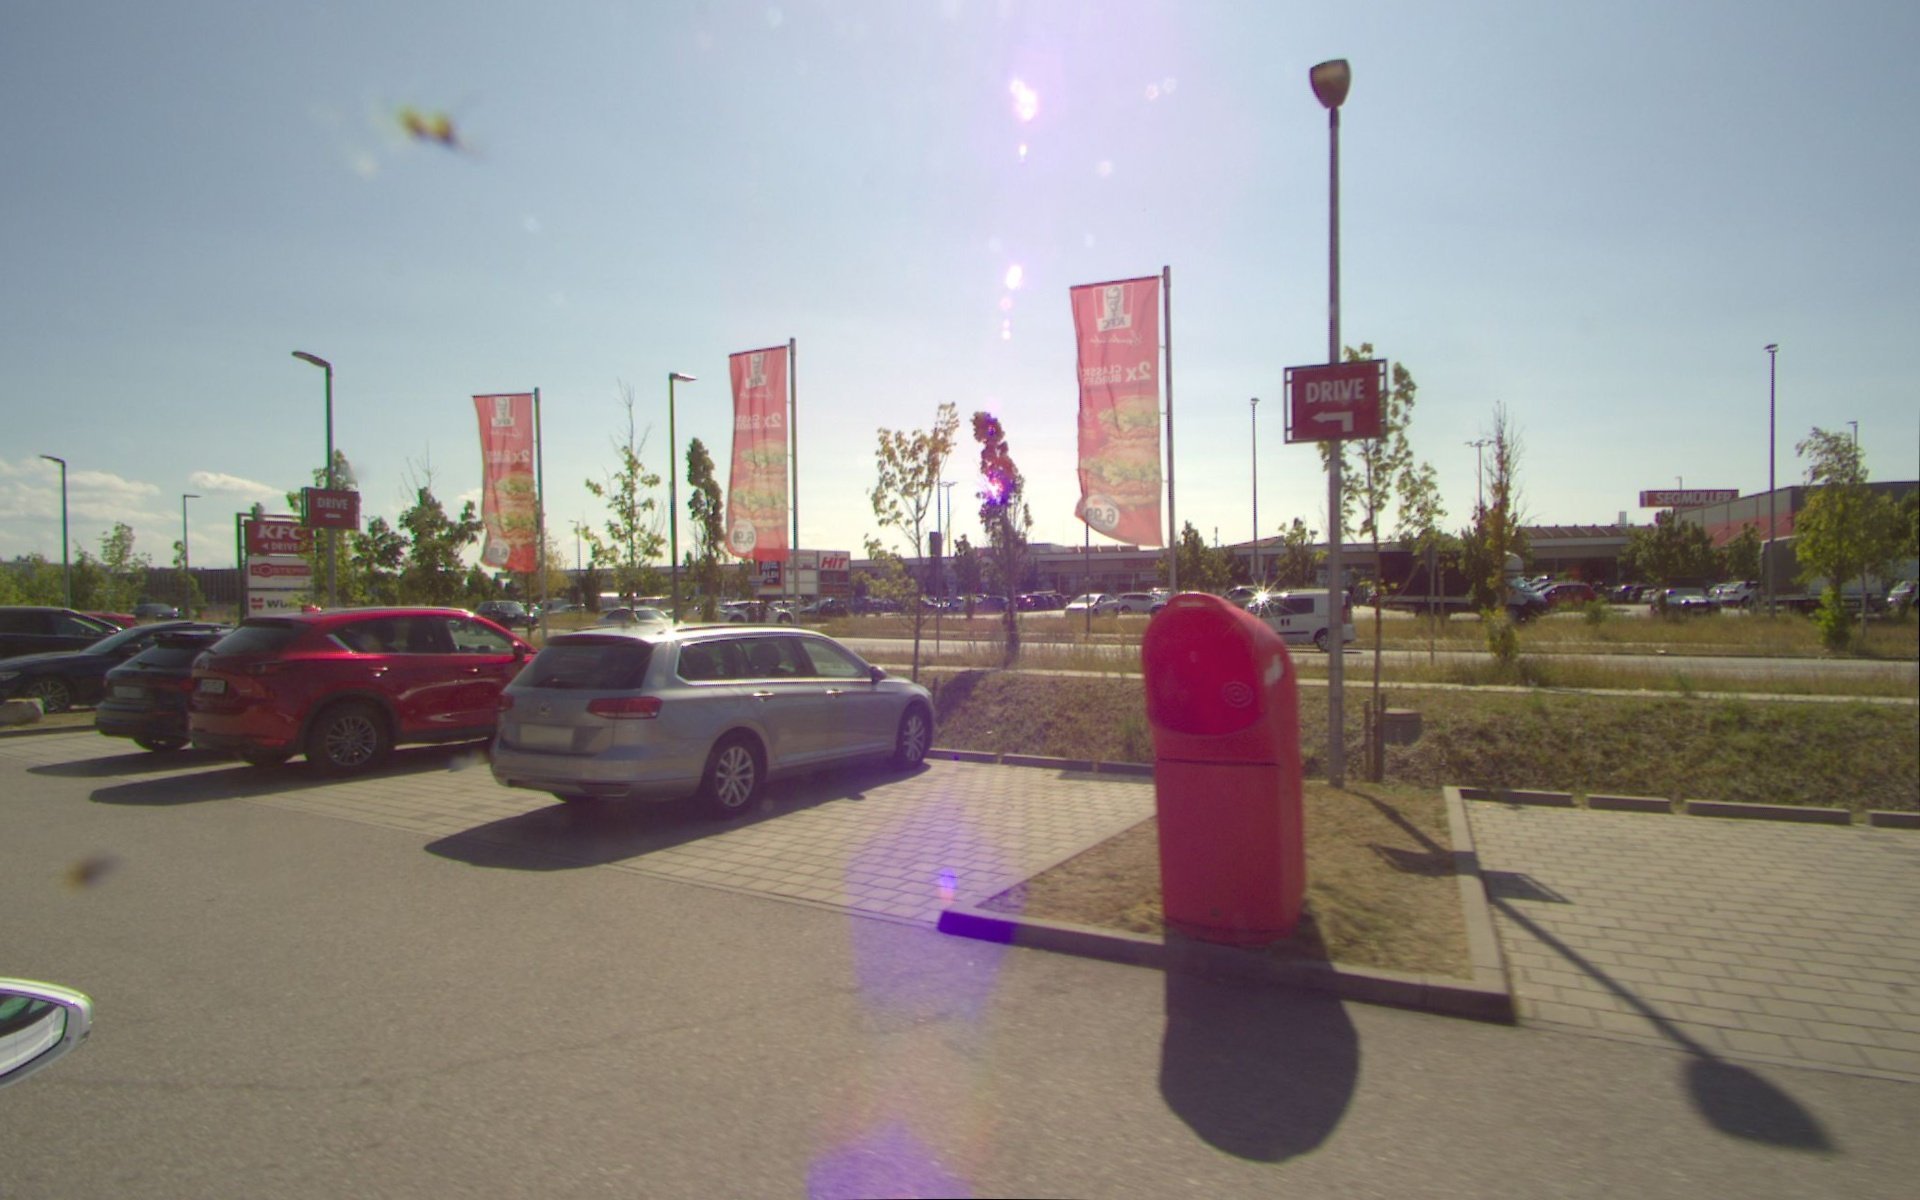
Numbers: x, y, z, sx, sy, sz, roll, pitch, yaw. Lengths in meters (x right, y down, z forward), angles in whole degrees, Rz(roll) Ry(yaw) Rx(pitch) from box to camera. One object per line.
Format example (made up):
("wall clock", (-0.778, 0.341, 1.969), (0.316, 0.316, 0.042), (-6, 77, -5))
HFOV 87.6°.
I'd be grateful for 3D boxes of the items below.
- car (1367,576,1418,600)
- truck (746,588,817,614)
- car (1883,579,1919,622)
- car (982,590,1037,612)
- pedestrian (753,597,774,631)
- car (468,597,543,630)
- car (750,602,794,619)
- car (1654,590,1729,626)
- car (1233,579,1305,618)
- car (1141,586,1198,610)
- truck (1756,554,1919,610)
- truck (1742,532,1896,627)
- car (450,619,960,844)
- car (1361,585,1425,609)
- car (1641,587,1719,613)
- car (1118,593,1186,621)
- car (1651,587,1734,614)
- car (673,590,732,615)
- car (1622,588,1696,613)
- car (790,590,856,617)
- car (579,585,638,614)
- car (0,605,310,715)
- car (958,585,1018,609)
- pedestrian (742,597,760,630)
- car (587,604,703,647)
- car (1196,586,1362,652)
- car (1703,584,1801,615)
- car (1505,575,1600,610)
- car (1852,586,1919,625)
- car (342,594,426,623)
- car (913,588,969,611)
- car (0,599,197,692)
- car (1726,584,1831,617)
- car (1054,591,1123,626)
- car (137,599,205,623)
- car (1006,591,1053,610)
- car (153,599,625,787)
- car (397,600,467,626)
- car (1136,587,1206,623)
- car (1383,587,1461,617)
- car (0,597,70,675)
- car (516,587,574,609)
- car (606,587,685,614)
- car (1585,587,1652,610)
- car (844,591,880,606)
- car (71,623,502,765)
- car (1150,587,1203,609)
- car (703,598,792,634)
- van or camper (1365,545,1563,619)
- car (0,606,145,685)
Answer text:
("car", (37.025, -0.991, 85.830), (3.930, 2.040, 1.995), (0, 1, 20))
("truck", (-13.418, 0.072, 75.401), (1.974, 1.888, 5.396), (1, 0, 37))
("car", (44.474, 0.022, 44.734), (4.325, 1.880, 1.952), (0, 1, 17))
("car", (4.363, 0.062, 87.814), (4.491, 1.880, 1.952), (0, 1, 17))
("pedestrian", (-9.579, 0.662, 48.801), (0.748, 1.621, 0.686), (1, 1, 43))
("car", (-24.686, 0.714, 54.316), (4.545, 1.686, 1.865), (0, 1, 38))
("car", (-18.561, 1.021, 98.802), (3.935, 1.639, 1.993), (0, 0, 26))
("car", (31.217, 0.320, 42.864), (1.627, 1.479, 3.956), (0, 0, 22))
("car", (15.774, -0.086, 51.041), (1.932, 1.880, 4.369), (1, 0, 40))
("car", (17.000, -0.151, 81.171), (4.325, 1.880, 1.952), (0, 1, 17))
("truck", (46.358, -0.924, 52.525), (6.931, 2.852, 1.952), (0, 1, 18))
("truck", (34.866, -0.780, 40.966), (2.721, 3.527, 6.814), (1, 0, 22))
("car", (-1.862, 0.893, 8.872), (1.714, 1.431, 4.581), (0, -1, 29))
("car", (33.683, -0.230, 78.007), (4.325, 1.880, 1.952), (0, 1, 17))
("car", (53.496, 0.023, 74.482), (4.325, 1.880, 1.952), (0, 1, 17))
("car", (13.142, 0.481, 68.443), (4.325, 1.880, 1.952), (0, 1, 17))
("car", (51.918, 0.020, 71.087), (4.325, 1.880, 1.952), (0, 1, 17))
("car", (-21.889, 0.214, 85.217), (1.968, 2.040, 5.160), (1, 0, 27))
("car", (54.715, 0.023, 78.496), (4.325, 1.880, 1.952), (0, 1, 17))
("car", (-9.802, 0.251, 71.788), (1.974, 1.870, 4.699), (1, 0, 37))
("car", (-31.078, -0.043, 88.683), (1.968, 2.488, 5.057), (1, 0, 27))
("car", (-14.012, 0.939, 17.220), (1.871, 1.659, 4.422), (0, -1, 36))
("car", (2.264, -0.217, 80.251), (4.491, 1.880, 1.952), (0, 1, 17))
("pedestrian", (-10.288, 0.657, 49.360), (0.660, 1.577, 0.620), (1, 1, 43))
("car", (-12.321, 0.952, 39.077), (4.594, 1.547, 1.987), (0, 0, 35))
("car", (10.210, 0.560, 32.124), (4.819, 1.980, 1.870), (0, 1, 29))
("car", (49.628, -0.020, 62.865), (4.325, 1.880, 2.045), (0, 1, 17))
("car", (33.010, -0.424, 55.916), (4.190, 1.880, 1.867), (0, 1, 17))
("car", (47.138, 0.282, 49.332), (4.325, 1.880, 1.952), (0, 1, 17))
("car", (-31.627, 0.457, 54.978), (4.587, 1.547, 1.990), (0, 0, 31))
("car", (-1.765, -0.056, 92.841), (4.840, 2.040, 2.080), (0, 1, 13))
("car", (-17.910, 0.855, 19.662), (1.869, 1.725, 4.309), (0, -1, 33))
("car", (48.090, 0.024, 58.968), (4.325, 1.880, 1.952), (0, 1, 17))
("car", (7.386, 0.467, 57.307), (1.976, 1.880, 4.252), (1, 0, 40))
("car", (-59.084, 0.800, 74.958), (4.679, 1.756, 1.994), (0, 0, 23))
("car", (6.961, 0.008, 100.088), (4.325, 1.880, 1.952), (0, 1, 17))
("car", (-6.044, 0.857, 11.162), (1.921, 1.659, 4.213), (0, -1, 29))
("car", (-32.195, 0.780, 61.051), (4.596, 1.524, 1.987), (0, 0, 36))
("car", (11.551, 0.276, 54.617), (1.932, 1.880, 4.369), (1, 0, 40))
("car", (29.948, 0.111, 65.076), (4.325, 1.880, 1.952), (0, 1, 17))
("car", (-23.272, 0.821, 22.523), (1.870, 1.783, 4.563), (0, -1, 34))
("car", (-39.833, -0.150, 96.251), (1.968, 2.040, 5.057), (1, 0, 27))
("car", (-27.161, 0.061, 86.690), (2.775, 2.267, 6.281), (1, 0, 30))
("car", (55.485, -0.109, 84.432), (4.325, 1.880, 1.952), (0, 1, 17))
("car", (-10.113, -0.130, 103.702), (3.410, 1.573, 1.665), (0, 1, 12))
("car", (-8.125, 1.020, 12.546), (1.746, 1.428, 4.191), (0, -1, 27))
("car", (18.677, -0.151, 86.286), (4.323, 1.880, 1.953), (0, 1, 15))
("car", (-11.498, 0.862, 54.348), (4.359, 1.870, 1.982), (0, 1, -41))
("van or camper", (23.355, -0.786, 46.855), (2.391, 3.143, 7.989), (0, 1, -39))
("car", (-20.489, 0.950, 21.711), (1.871, 1.630, 4.055), (1, 0, 36))
